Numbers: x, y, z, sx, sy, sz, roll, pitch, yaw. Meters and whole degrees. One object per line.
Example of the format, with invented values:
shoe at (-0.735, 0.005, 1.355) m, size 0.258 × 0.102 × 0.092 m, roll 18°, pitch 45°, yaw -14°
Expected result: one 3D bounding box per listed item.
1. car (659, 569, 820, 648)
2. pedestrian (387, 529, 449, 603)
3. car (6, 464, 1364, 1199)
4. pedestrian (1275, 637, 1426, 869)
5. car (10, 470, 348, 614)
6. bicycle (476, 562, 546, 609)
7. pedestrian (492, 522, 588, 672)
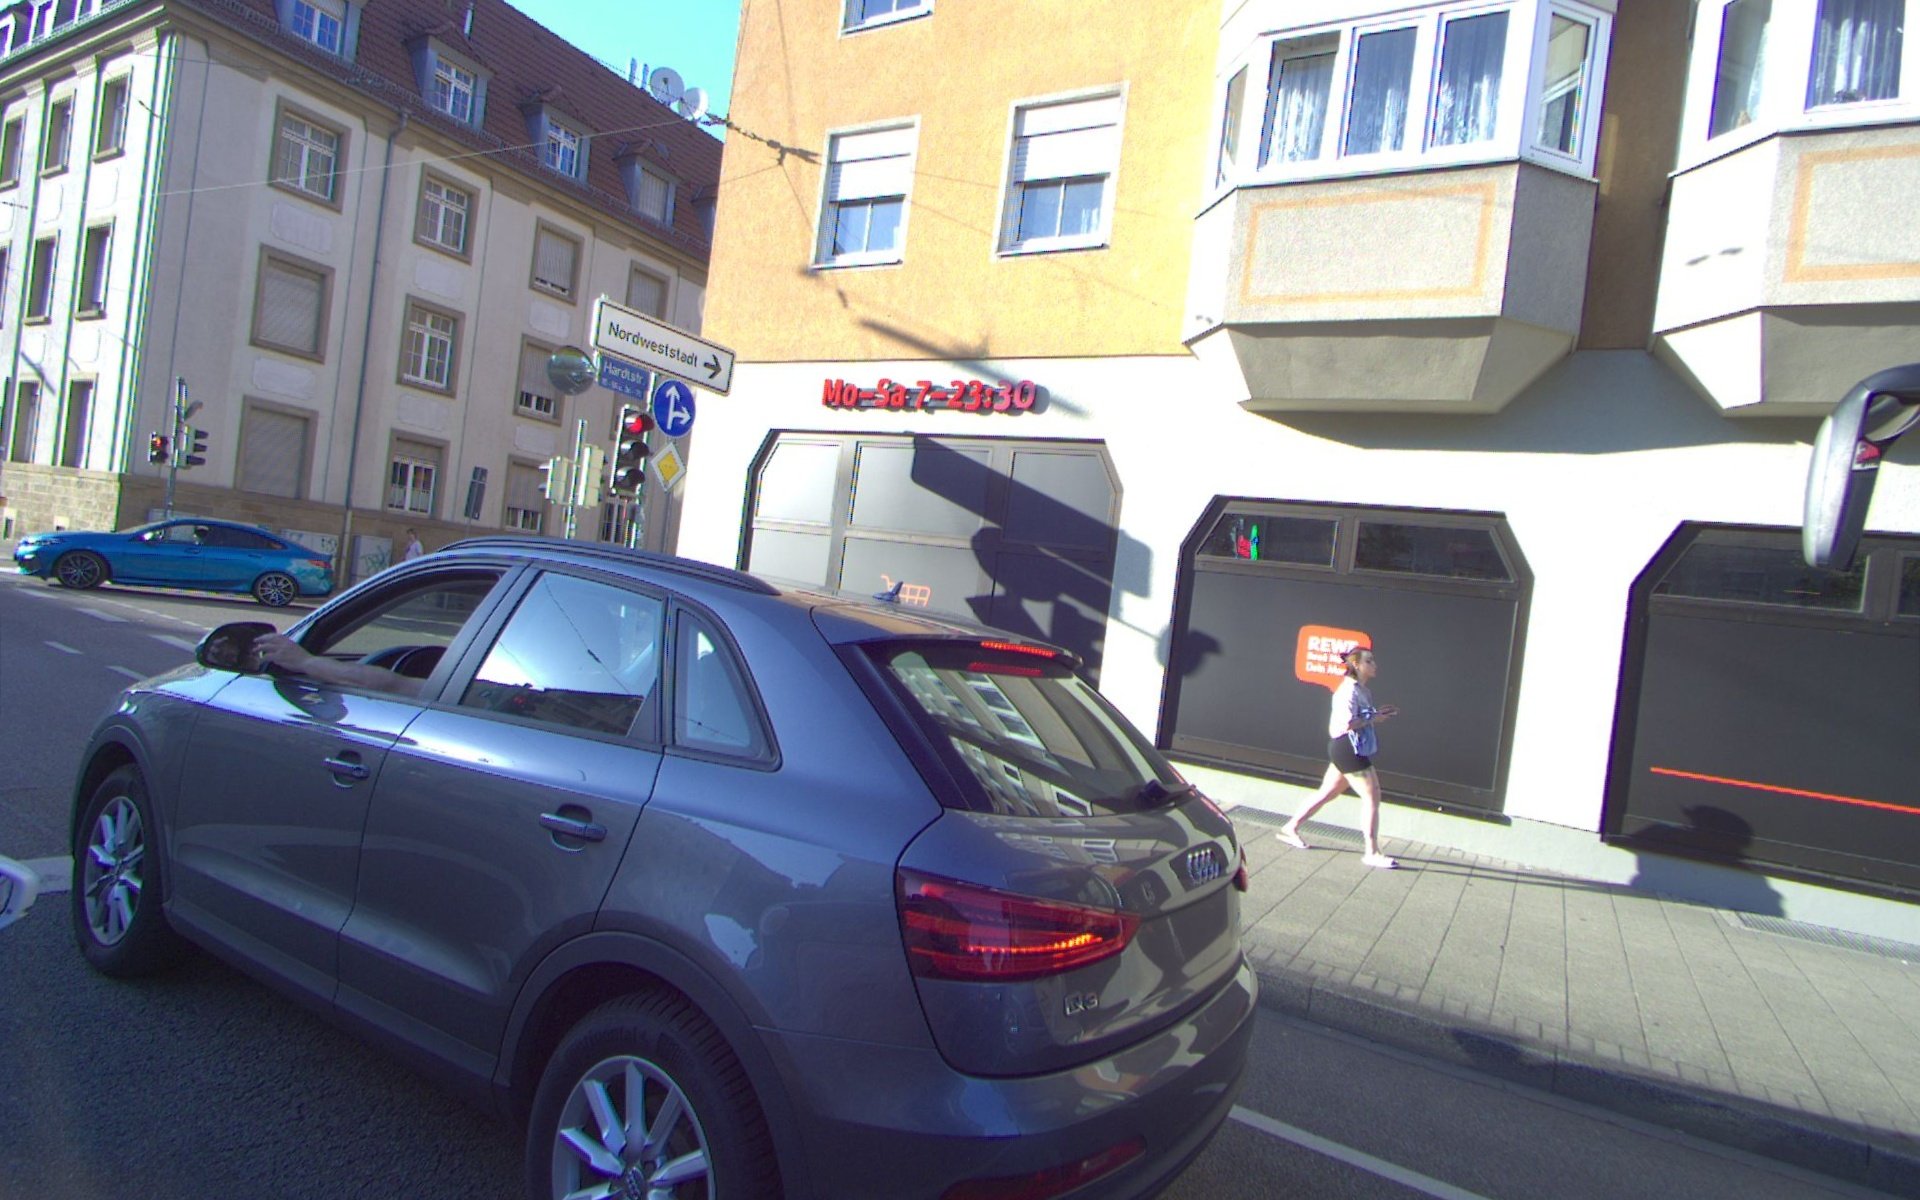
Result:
car at (-6.280, 0.304, 29.091) m, size 1.967 × 1.679 × 4.278 m, roll 6°, pitch -3°, yaw 32°
pedestrian at (-13.492, -0.835, 25.065) m, size 0.657 × 1.703 × 1.038 m, roll 7°, pitch 1°, yaw 31°
car at (-1.085, 0.589, 3.190) m, size 4.018 × 1.595 × 1.772 m, roll 7°, pitch 0°, yaw 32°
pedestrian at (2.890, 1.096, 7.451) m, size 0.817 × 1.544 × 0.440 m, roll 7°, pitch 1°, yaw 32°
car at (-13.810, -0.946, 18.080) m, size 4.444 × 1.748 × 1.978 m, roll 10°, pitch -3°, yaw -40°
bicycle at (-12.436, -0.386, 27.887) m, size 0.657 × 1.131 × 1.564 m, roll 7°, pitch 0°, yaw 32°
pedestrian at (-5.660, -0.034, 13.566) m, size 0.706 × 1.896 × 0.694 m, roll 6°, pitch -2°, yaw 31°
